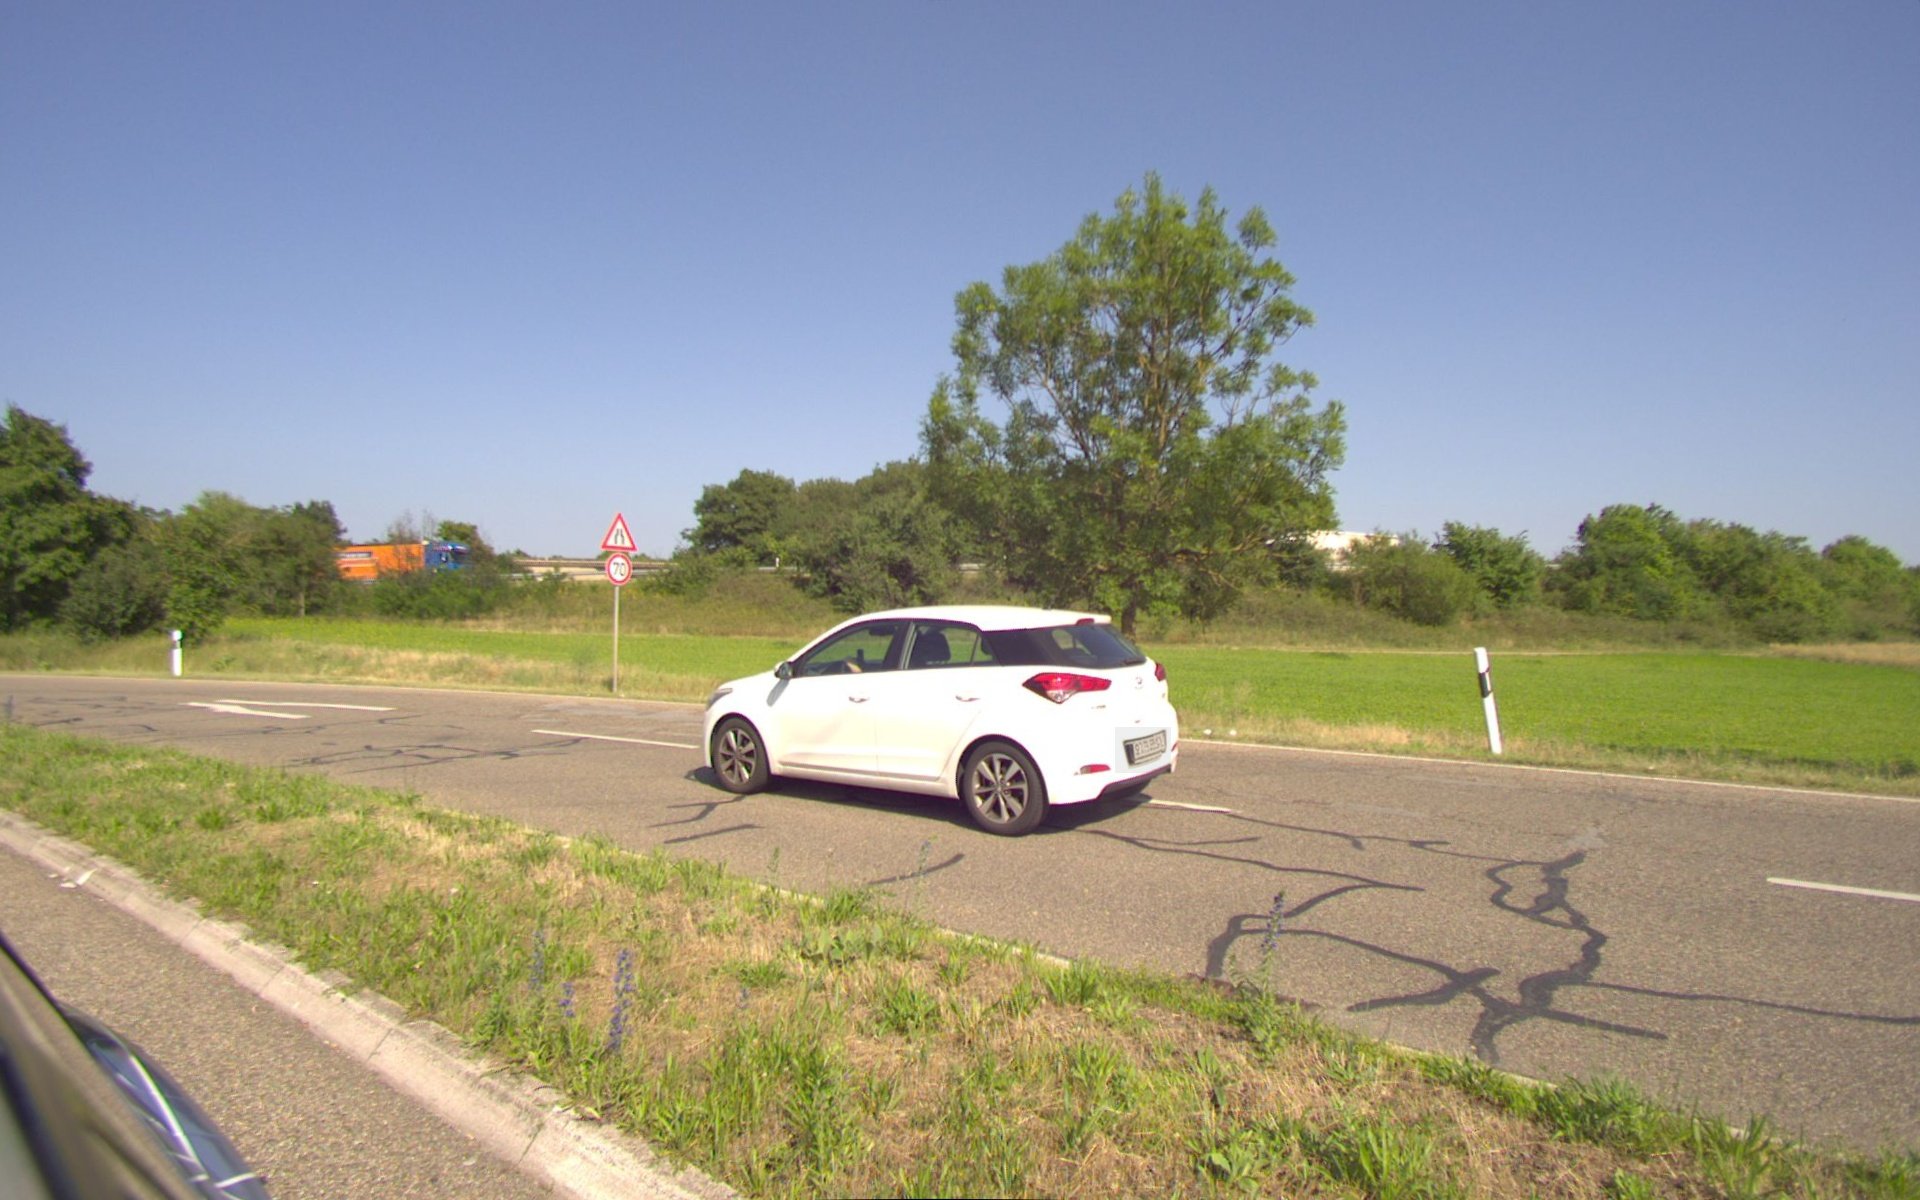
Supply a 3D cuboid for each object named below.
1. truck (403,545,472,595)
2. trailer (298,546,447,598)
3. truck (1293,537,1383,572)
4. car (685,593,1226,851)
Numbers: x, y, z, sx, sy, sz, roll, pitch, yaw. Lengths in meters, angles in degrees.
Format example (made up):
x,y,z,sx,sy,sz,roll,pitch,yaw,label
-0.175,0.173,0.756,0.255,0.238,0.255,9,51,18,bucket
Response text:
x,y,z,sx,sy,sz,roll,pitch,yaw,label
-43.105,-2.427,83.570,4.629,4.005,2.547,-1,0,19,truck
-49.981,-2.321,85.949,13.761,3.989,2.562,-1,0,19,trailer
33.552,-3.970,89.656,9.770,2.828,2.497,-1,0,-36,truck
-0.180,0.721,7.675,3.906,1.476,1.701,-1,-1,38,car
